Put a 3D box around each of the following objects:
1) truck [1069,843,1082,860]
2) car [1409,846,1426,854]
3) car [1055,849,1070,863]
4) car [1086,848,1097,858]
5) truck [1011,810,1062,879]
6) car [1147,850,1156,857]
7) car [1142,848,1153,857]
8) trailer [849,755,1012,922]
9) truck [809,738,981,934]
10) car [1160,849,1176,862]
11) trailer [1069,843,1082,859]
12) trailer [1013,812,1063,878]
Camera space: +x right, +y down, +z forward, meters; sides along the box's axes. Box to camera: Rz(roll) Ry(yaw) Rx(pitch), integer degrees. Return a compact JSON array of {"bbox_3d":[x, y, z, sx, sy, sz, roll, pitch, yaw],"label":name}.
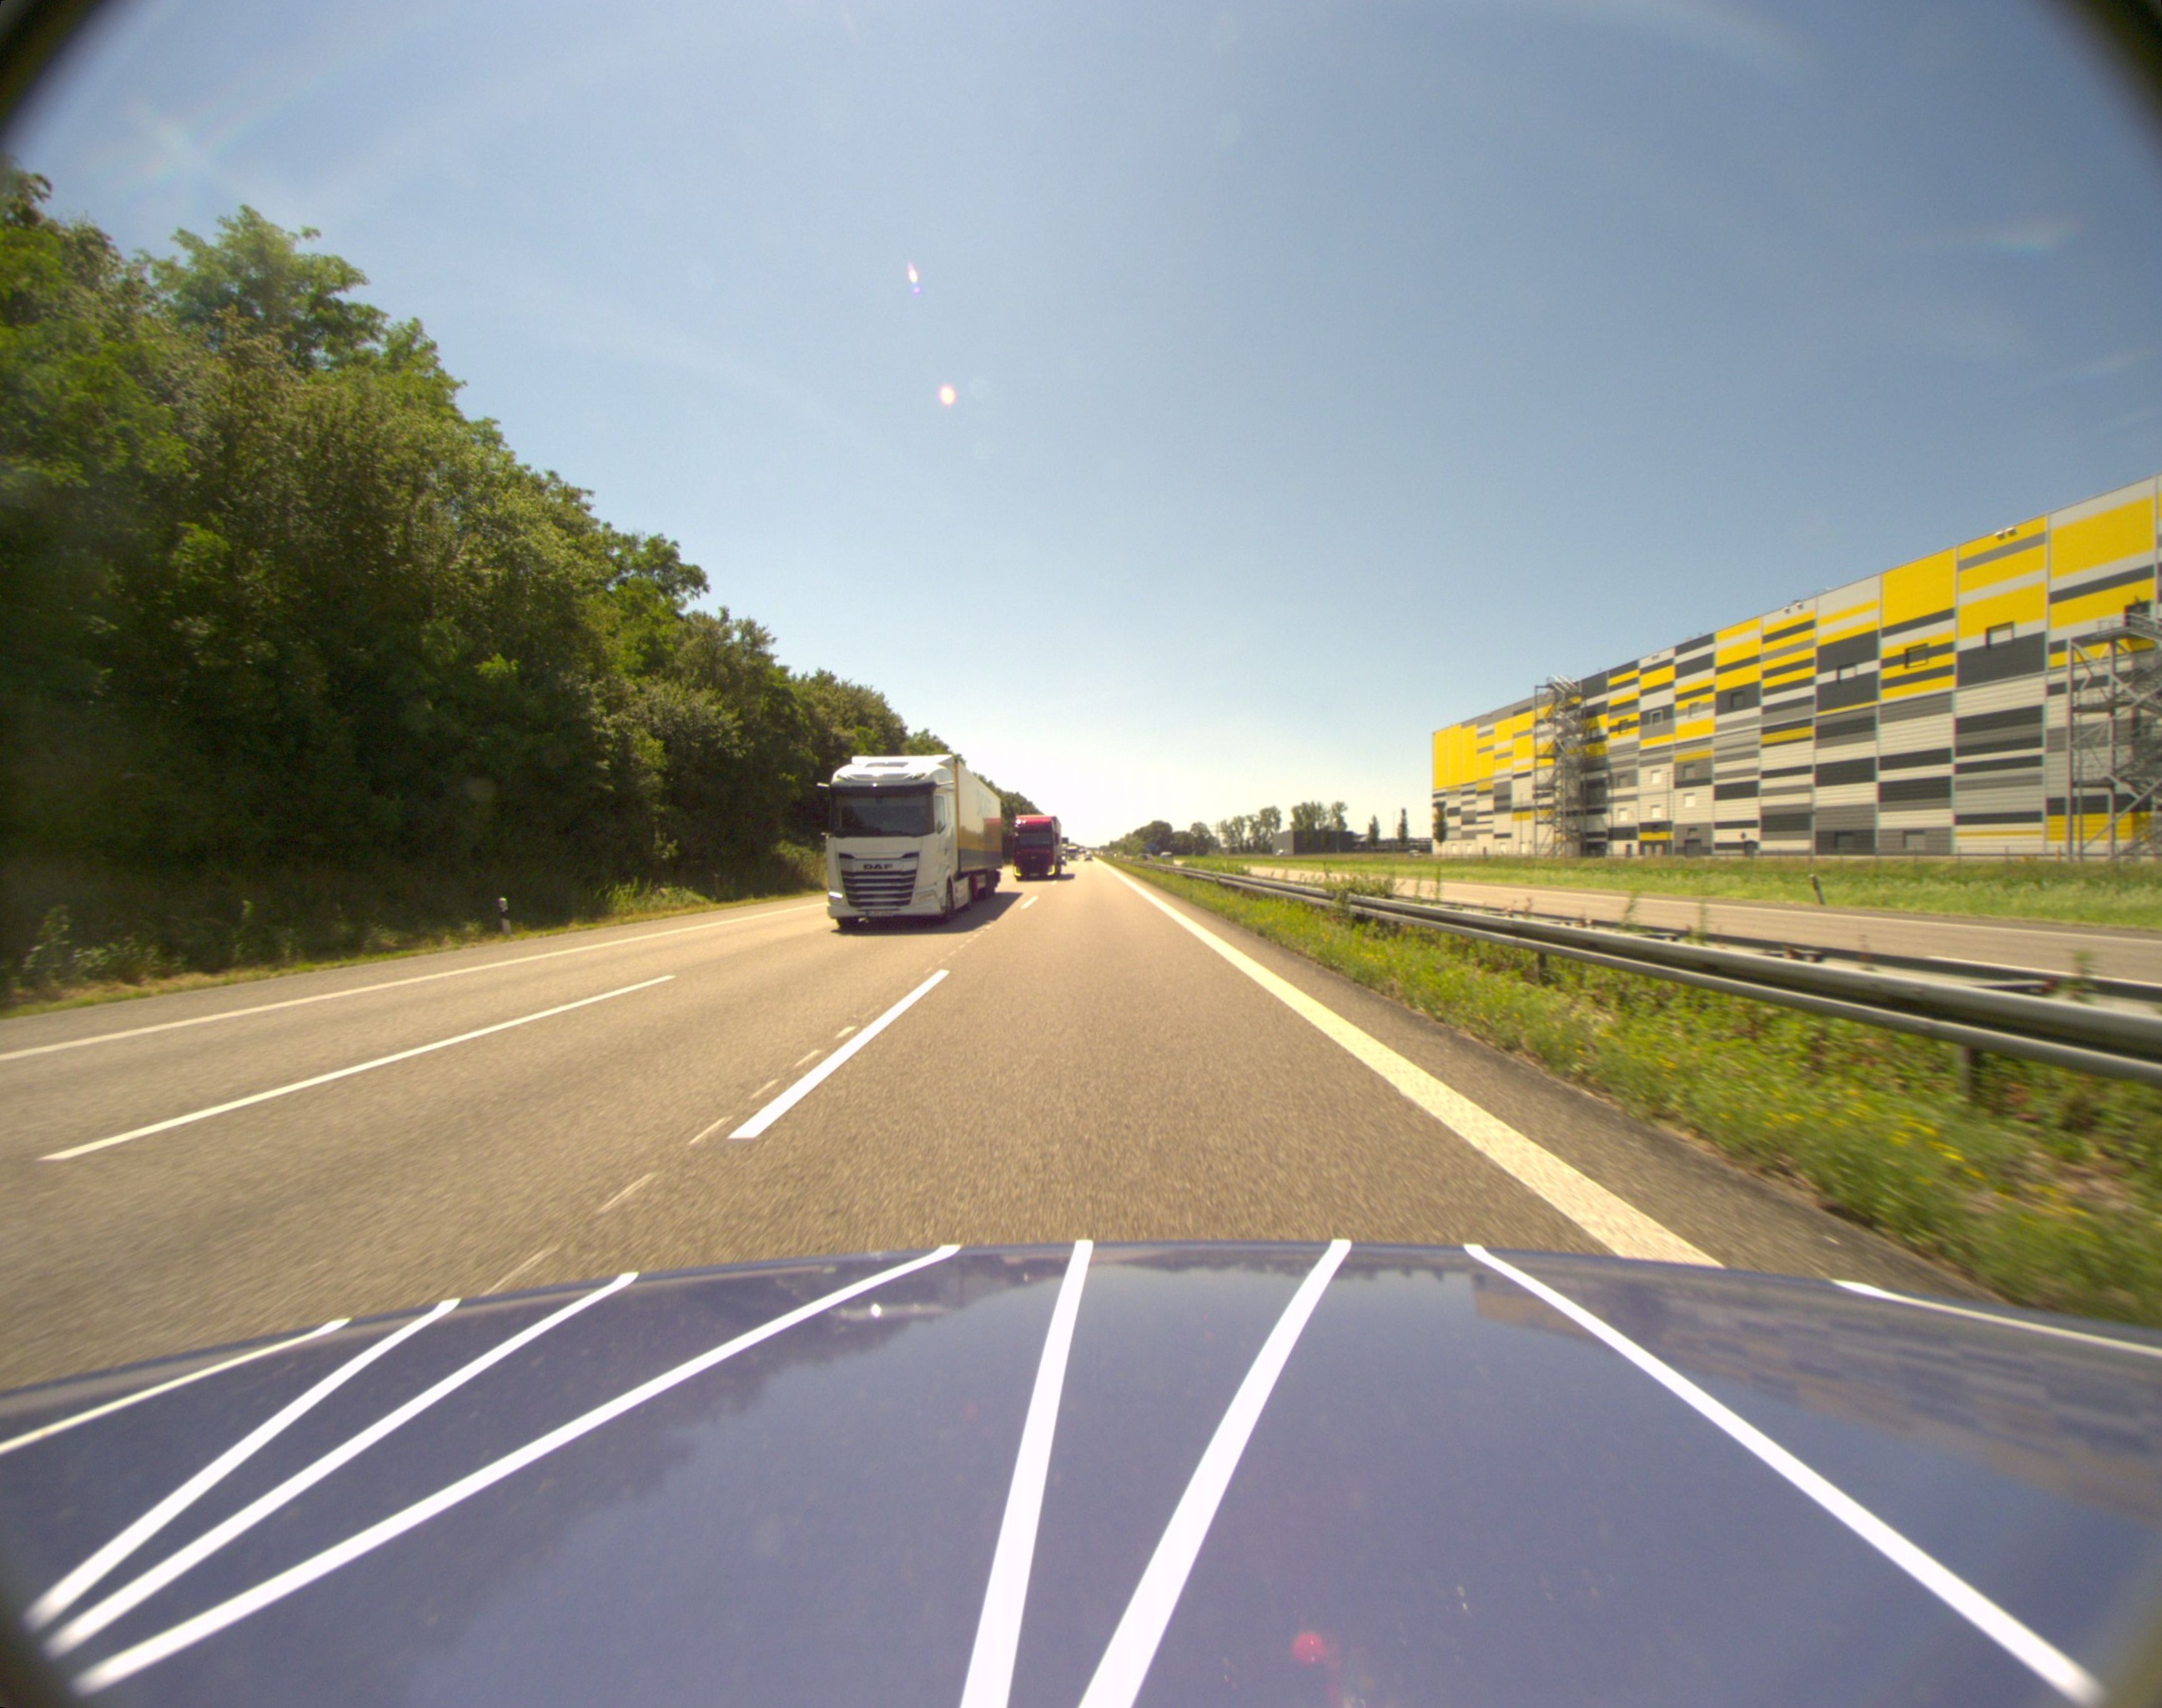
[{"bbox_3d":[-1.419,-0.718,191.277,2.999,4.046,5.770,-2,0,0],"label":"truck"},{"bbox_3d":[72.299,-0.807,163.249,1.832,1.726,4.269,0,0,0],"label":"car"},{"bbox_3d":[-2.525,0.292,104.853,2.073,1.823,5.109,0,0,-1],"label":"car"},{"bbox_3d":[2.059,-0.254,155.573,2.073,1.959,5.109,0,0,-1],"label":"car"},{"bbox_3d":[-2.726,-0.572,48.026,2.870,4.046,5.770,-2,0,-1],"label":"truck"},{"bbox_3d":[15.635,-0.113,168.798,1.661,1.573,4.334,0,0,1],"label":"car"},{"bbox_3d":[11.865,-0.232,135.912,1.661,1.573,4.334,1,0,1],"label":"car"},{"bbox_3d":[-4.336,-0.421,25.732,2.684,4.046,13.834,-2,0,0],"label":"trailer"},{"bbox_3d":[-4.310,-0.396,19.042,2.684,4.046,6.048,-2,0,0],"label":"truck"},{"bbox_3d":[11.321,0.179,99.441,1.661,1.573,4.334,1,0,1],"label":"car"},{"bbox_3d":[-1.459,-0.745,198.586,3.005,4.046,13.834,-2,0,0],"label":"trailer"},{"bbox_3d":[-2.854,-0.593,54.434,2.885,4.046,13.832,-2,0,-1],"label":"trailer"}]
